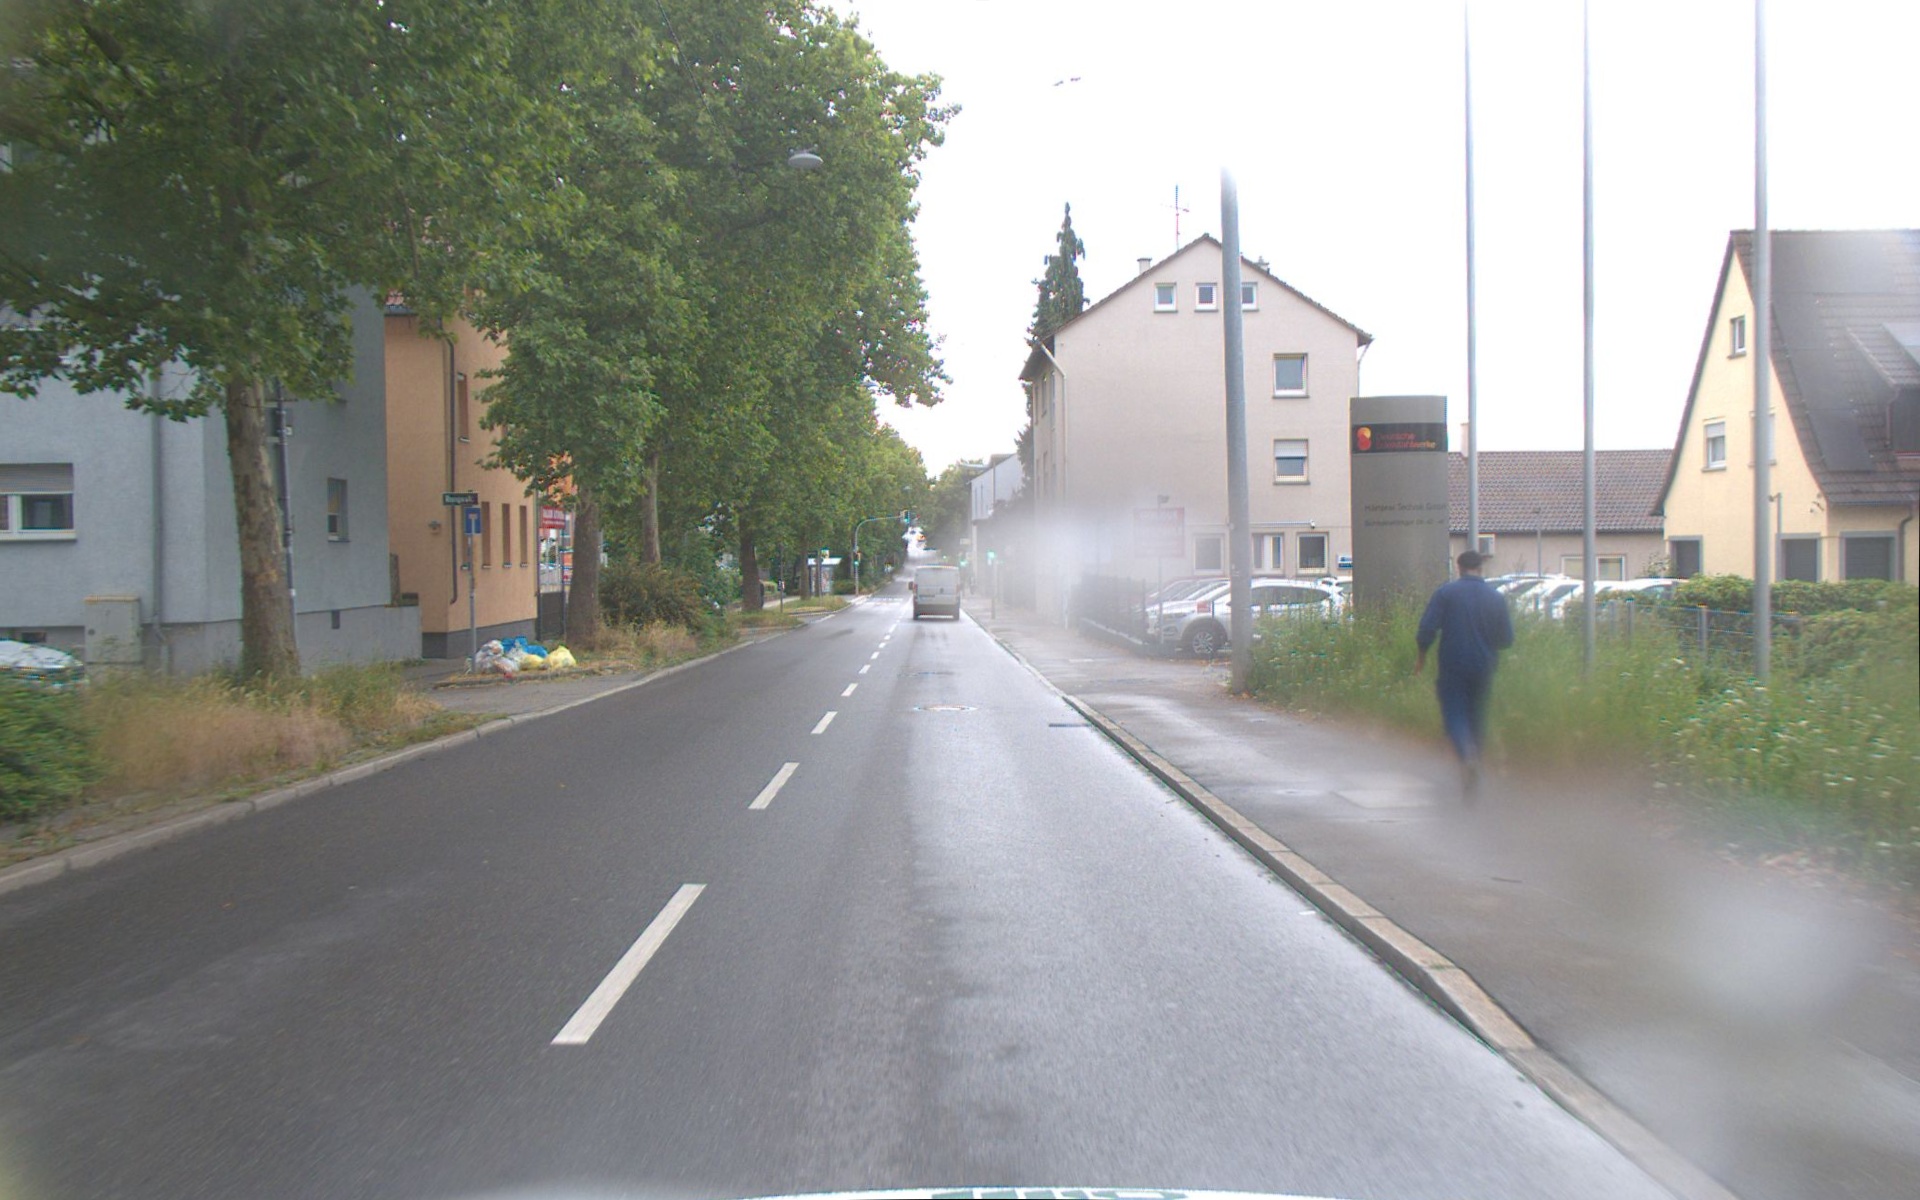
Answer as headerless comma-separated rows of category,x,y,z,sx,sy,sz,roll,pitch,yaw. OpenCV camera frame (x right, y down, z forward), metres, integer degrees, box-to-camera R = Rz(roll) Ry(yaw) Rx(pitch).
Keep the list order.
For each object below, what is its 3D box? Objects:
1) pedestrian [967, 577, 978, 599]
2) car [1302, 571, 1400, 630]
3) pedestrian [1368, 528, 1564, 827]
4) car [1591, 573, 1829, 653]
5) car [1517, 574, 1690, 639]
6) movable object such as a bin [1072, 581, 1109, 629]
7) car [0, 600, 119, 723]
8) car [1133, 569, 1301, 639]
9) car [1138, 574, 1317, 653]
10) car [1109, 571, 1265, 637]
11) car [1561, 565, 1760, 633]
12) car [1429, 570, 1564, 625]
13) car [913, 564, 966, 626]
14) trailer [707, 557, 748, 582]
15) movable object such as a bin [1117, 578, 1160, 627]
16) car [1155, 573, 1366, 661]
pedestrian,0.952,-0.921,128.130,0.728,1.734,0.900,1,0,-7
car,10.925,0.040,46.431,1.771,1.557,3.626,1,-1,-2
pedestrian,3.401,0.502,11.201,1.022,1.930,0.900,-1,-1,-1
car,16.532,0.269,36.599,4.412,1.655,1.869,-1,0,-2
car,16.209,0.157,41.764,3.690,1.559,1.757,1,0,-5
movable object such as a bin,4.330,0.154,54.992,1.088,1.536,0.986,-2,-1,-2
car,-13.550,0.725,21.167,4.568,1.502,1.869,1,-1,-2
car,6.813,0.115,44.136,4.142,1.767,1.869,1,-1,-2
car,6.215,0.312,38.764,3.868,1.754,1.791,1,0,-2
car,6.415,0.118,47.007,4.142,1.767,1.869,1,-1,-2
car,16.682,-0.012,39.541,3.907,1.494,1.999,1,-1,-3
car,16.570,-0.062,51.222,3.903,1.621,1.822,1,-1,16
car,-0.900,-0.201,71.626,2.236,2.597,3.999,0,-1,-1
trailer,-16.173,-2.123,115.117,2.649,1.674,1.480,1,0,-1
movable object such as a bin,5.921,0.082,54.872,1.209,1.536,1.110,-2,-1,-2
car,6.494,0.369,36.052,4.215,1.799,1.999,1,-1,-2
